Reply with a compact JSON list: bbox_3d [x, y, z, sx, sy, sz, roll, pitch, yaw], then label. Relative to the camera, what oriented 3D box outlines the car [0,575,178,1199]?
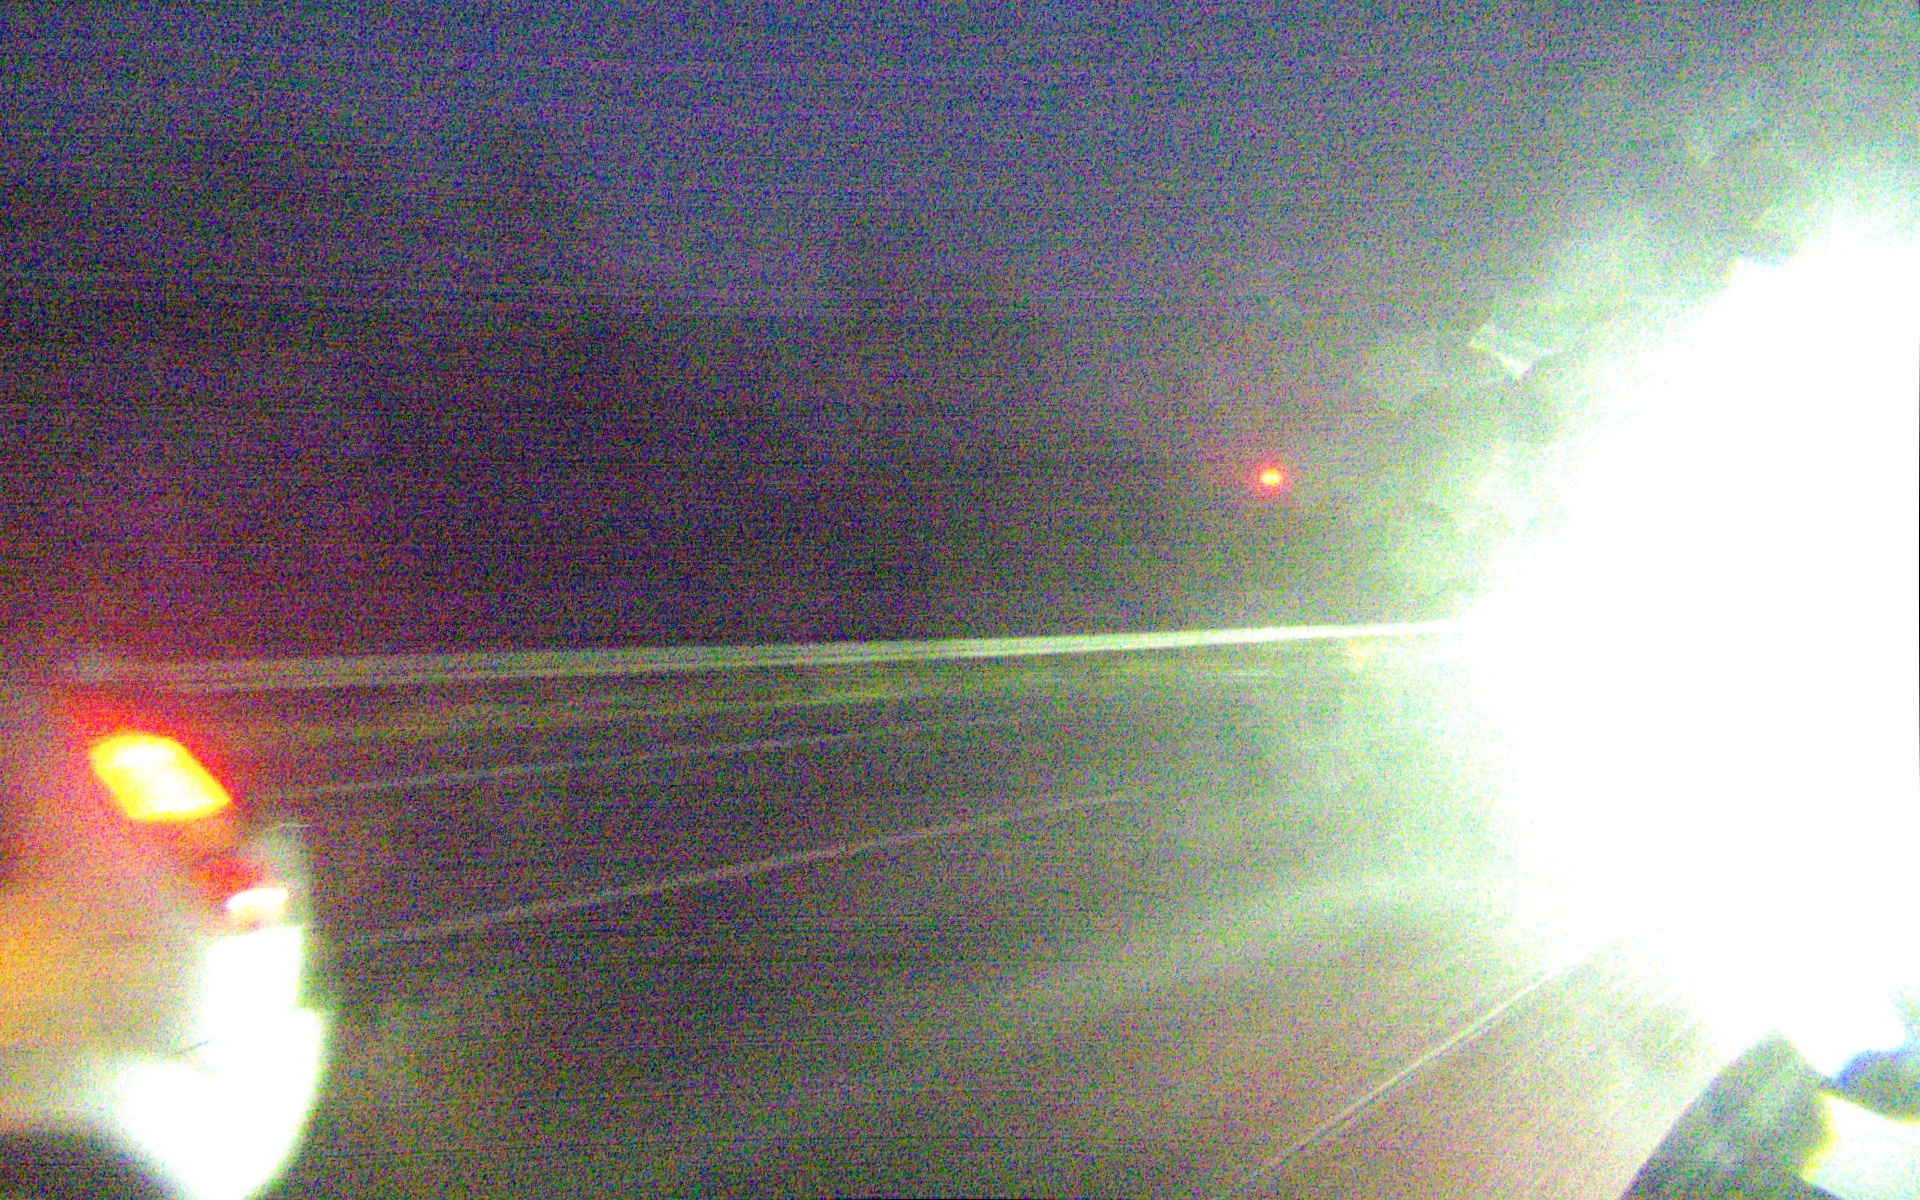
[{"bbox_3d":[-3.481,0.694,1.087,4.121,1.476,1.773,0,0,-40],"label":"car"}]
